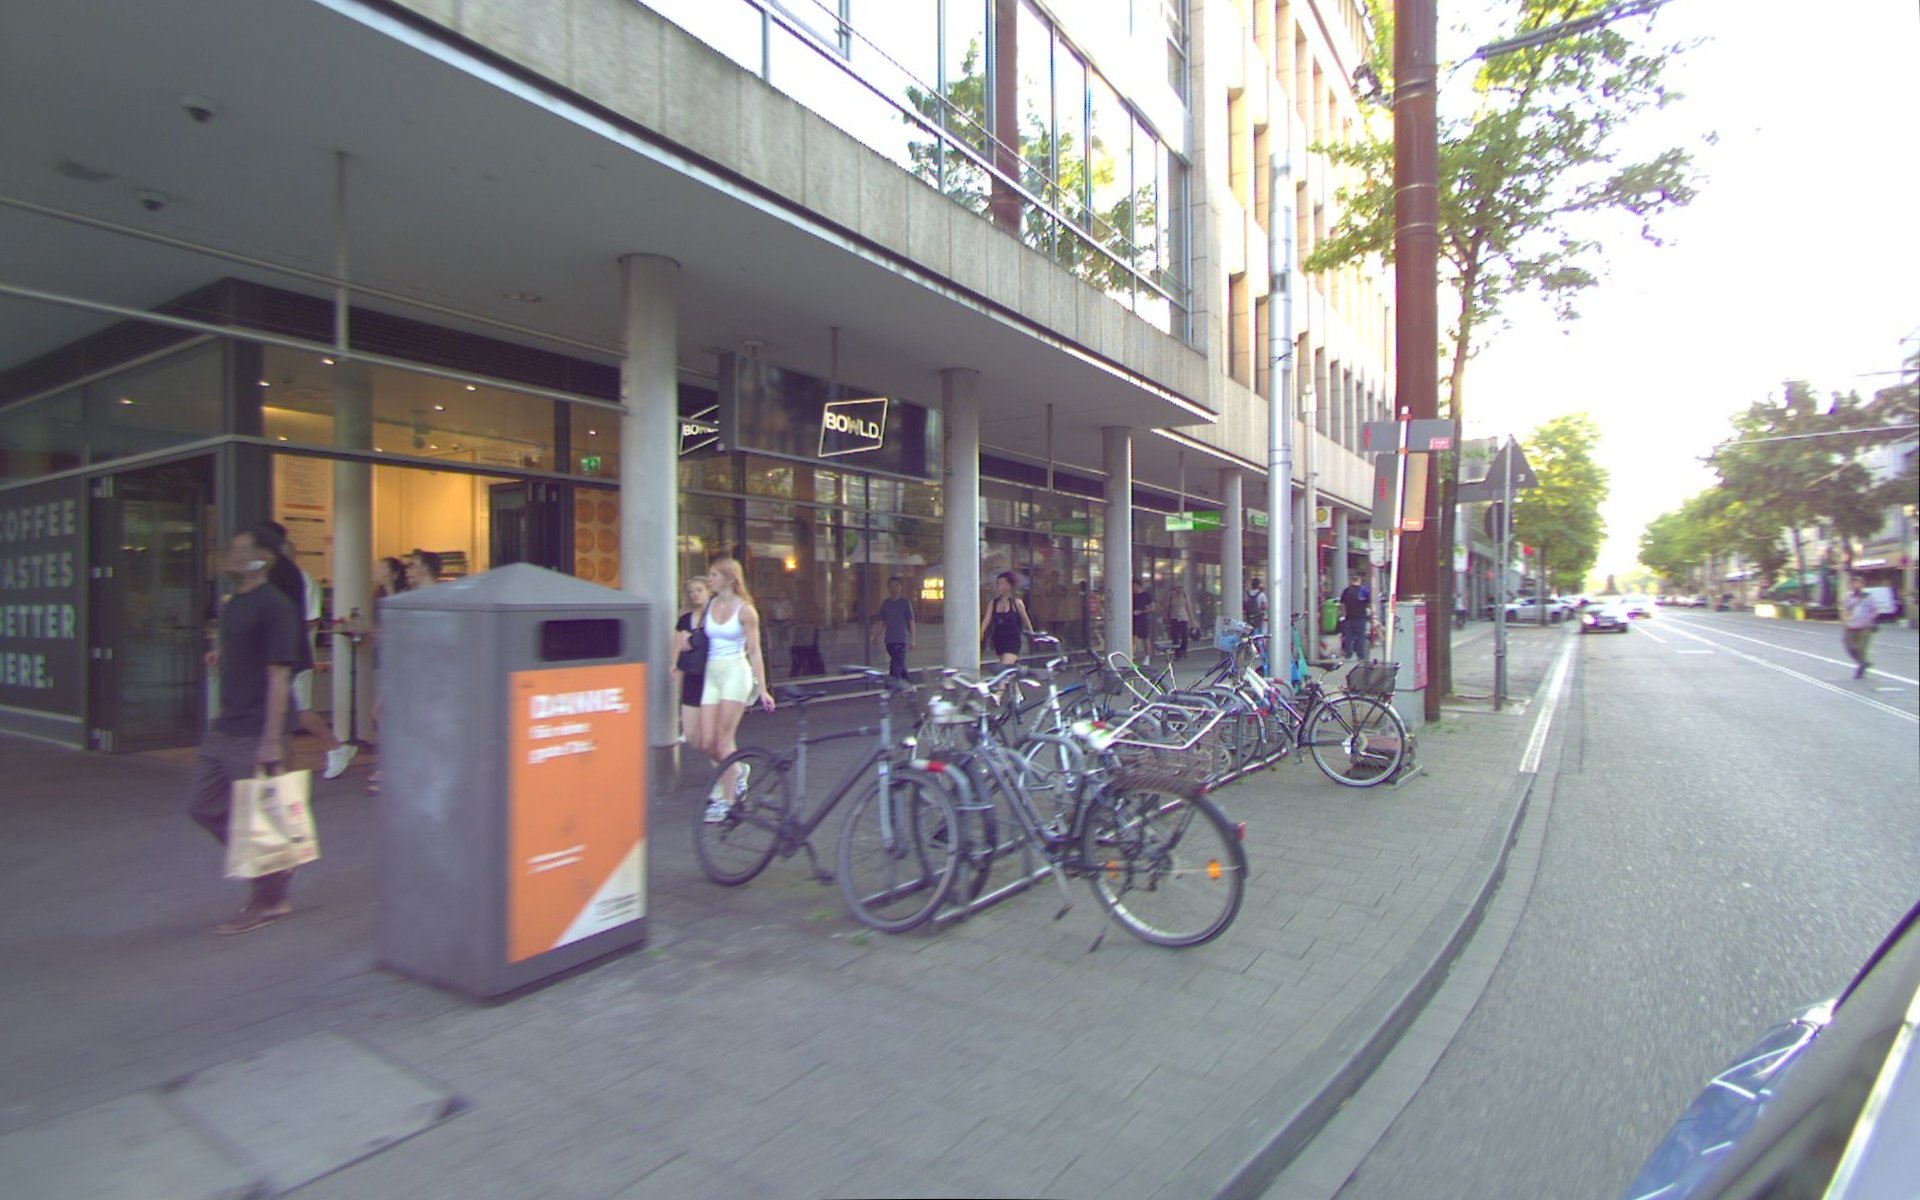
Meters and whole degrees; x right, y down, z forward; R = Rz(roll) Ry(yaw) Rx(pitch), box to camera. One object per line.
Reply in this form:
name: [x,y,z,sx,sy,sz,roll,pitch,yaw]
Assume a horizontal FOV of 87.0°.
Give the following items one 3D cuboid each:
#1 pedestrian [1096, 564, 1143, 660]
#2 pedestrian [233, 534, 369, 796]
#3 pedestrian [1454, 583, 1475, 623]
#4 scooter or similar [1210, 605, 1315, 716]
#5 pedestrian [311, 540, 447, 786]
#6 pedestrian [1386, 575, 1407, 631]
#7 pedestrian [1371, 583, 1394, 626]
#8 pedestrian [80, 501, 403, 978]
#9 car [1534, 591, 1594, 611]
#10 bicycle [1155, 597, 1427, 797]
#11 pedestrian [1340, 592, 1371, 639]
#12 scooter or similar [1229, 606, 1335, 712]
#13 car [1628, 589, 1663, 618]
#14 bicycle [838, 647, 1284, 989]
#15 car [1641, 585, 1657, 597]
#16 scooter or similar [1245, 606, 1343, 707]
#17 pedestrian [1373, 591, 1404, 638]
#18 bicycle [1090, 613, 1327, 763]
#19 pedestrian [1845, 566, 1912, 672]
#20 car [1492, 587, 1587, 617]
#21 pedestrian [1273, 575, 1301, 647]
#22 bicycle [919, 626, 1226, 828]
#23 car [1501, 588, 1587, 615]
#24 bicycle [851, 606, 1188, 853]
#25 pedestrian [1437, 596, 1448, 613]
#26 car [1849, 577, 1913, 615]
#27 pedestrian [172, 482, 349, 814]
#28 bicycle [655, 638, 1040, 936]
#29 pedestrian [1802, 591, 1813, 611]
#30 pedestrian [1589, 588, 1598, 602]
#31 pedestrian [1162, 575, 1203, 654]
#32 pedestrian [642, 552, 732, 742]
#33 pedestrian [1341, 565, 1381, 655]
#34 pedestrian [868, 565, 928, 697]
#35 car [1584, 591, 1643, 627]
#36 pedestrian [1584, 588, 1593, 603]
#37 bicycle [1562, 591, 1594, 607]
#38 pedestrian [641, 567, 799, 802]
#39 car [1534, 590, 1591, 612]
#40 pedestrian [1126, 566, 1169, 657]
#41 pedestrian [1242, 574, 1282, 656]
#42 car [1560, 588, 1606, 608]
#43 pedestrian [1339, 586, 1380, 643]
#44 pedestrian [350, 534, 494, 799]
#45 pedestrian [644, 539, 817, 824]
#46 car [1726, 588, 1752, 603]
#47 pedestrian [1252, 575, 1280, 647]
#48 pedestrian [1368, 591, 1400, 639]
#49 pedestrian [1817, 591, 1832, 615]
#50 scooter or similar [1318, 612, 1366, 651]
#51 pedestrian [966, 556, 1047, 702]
pedestrian: [3.236,0.226,20.483,0.684,1.906,0.765,1,0,32]
pedestrian: [-5.031,0.456,7.737,0.662,1.871,0.709,1,1,39]
pedestrian: [20.781,0.131,41.654,0.666,1.608,0.631,-2,-1,33]
scooter or similar: [3.587,0.706,12.017,1.166,1.267,0.394,1,0,-18]
pedestrian: [-4.529,0.453,7.908,0.660,1.809,0.711,1,1,34]
pedestrian: [15.517,0.087,35.994,0.576,1.968,0.648,1,1,33]
pedestrian: [16.595,0.160,39.748,0.685,1.682,0.713,1,1,34]
pedestrian: [-3.011,0.497,4.280,0.761,1.740,0.912,1,1,34]
car: [52.345,0.108,87.703,3.928,1.530,1.863,-3,-1,4]
bicycle: [2.583,0.685,7.956,1.904,1.349,0.718,2,1,29]
pedestrian: [11.304,0.442,28.917,0.715,1.331,0.525,-1,0,35]
scooter or similar: [3.953,0.715,12.472,1.170,1.267,0.393,1,0,4]
car: [48.771,0.238,72.019,1.986,2.039,3.952,0,0,33]
bicycle: [0.398,0.826,4.434,1.843,1.122,0.659,1,1,31]
car: [111.957,-1.439,164.489,1.986,2.039,3.952,0,0,33]
scooter or similar: [4.317,0.718,13.124,1.096,1.267,0.496,1,0,4]
pedestrian: [12.280,0.421,29.020,0.715,1.331,0.518,-1,0,35]
bicycle: [2.265,0.750,9.300,1.985,1.169,0.718,2,1,29]
pedestrian: [16.370,0.327,18.041,0.820,1.815,0.975,-2,-2,44]
car: [34.935,0.144,61.130,4.551,1.650,1.917,2,-1,2]
pedestrian: [8.395,0.273,25.971,0.536,1.829,0.597,1,0,32]
bicycle: [0.740,0.779,6.827,1.904,1.091,0.755,2,1,29]
car: [38.772,0.087,67.281,4.548,1.607,1.919,2,1,-1]
bicycle: [0.341,0.698,6.207,1.904,1.237,0.755,2,1,29]
pedestrian: [30.365,0.266,63.702,0.621,1.049,0.553,0,1,25]
car: [48.613,-0.217,53.511,1.819,1.845,4.276,-4,-2,34]
pedestrian: [-4.643,0.290,6.732,0.684,2.039,0.773,1,0,34]
bicycle: [-0.585,0.799,4.928,1.843,1.122,0.659,1,1,31]
pedestrian: [61.615,0.080,73.581,0.647,1.404,0.641,-1,0,40]
pedestrian: [66.238,-0.489,105.865,0.641,1.478,0.647,0,0,17]
pedestrian: [4.853,0.310,22.068,0.646,1.682,0.672,1,0,34]
pedestrian: [-2.621,0.424,9.732,0.567,1.753,0.610,1,0,32]
pedestrian: [8.527,0.200,21.491,0.666,1.862,0.700,1,1,33]
pedestrian: [-0.845,0.402,13.775,0.567,1.753,0.610,1,0,32]
car: [28.800,0.382,44.551,1.790,1.426,4.503,-2,0,38]
pedestrian: [64.531,-0.446,103.894,0.641,1.478,0.647,0,0,17]
bicycle: [42.922,-0.069,70.324,1.852,1.087,0.724,-1,0,33]
pedestrian: [-1.698,0.552,7.242,0.795,1.556,0.805,0,0,20]
car: [54.625,0.081,91.783,3.935,1.809,1.859,-3,-1,10]
pedestrian: [3.722,0.216,20.074,0.579,1.775,0.765,1,0,32]
pedestrian: [7.027,0.323,23.537,0.666,1.862,0.869,1,1,33]
car: [62.708,-0.244,101.847,3.917,1.809,1.868,-2,-1,-22]
pedestrian: [10.136,0.362,25.690,0.810,1.398,0.654,-1,0,35]
pedestrian: [-3.919,0.443,7.389,0.660,1.809,0.711,1,1,34]
pedestrian: [-1.472,0.479,6.590,0.795,1.716,0.805,0,0,20]
car: [80.977,-0.462,105.208,1.787,1.529,3.952,0,0,33]
pedestrian: [7.938,0.281,26.253,0.536,1.829,0.597,1,0,32]
pedestrian: [11.973,0.429,28.596,0.715,1.331,0.525,-1,0,35]
pedestrian: [55.820,0.192,65.351,0.645,1.478,0.642,0,0,34]
scooter or similar: [9.111,0.743,24.123,0.675,0.895,0.834,-1,-1,-42]
pedestrian: [0.601,0.346,12.941,0.769,1.794,0.765,0,1,32]
